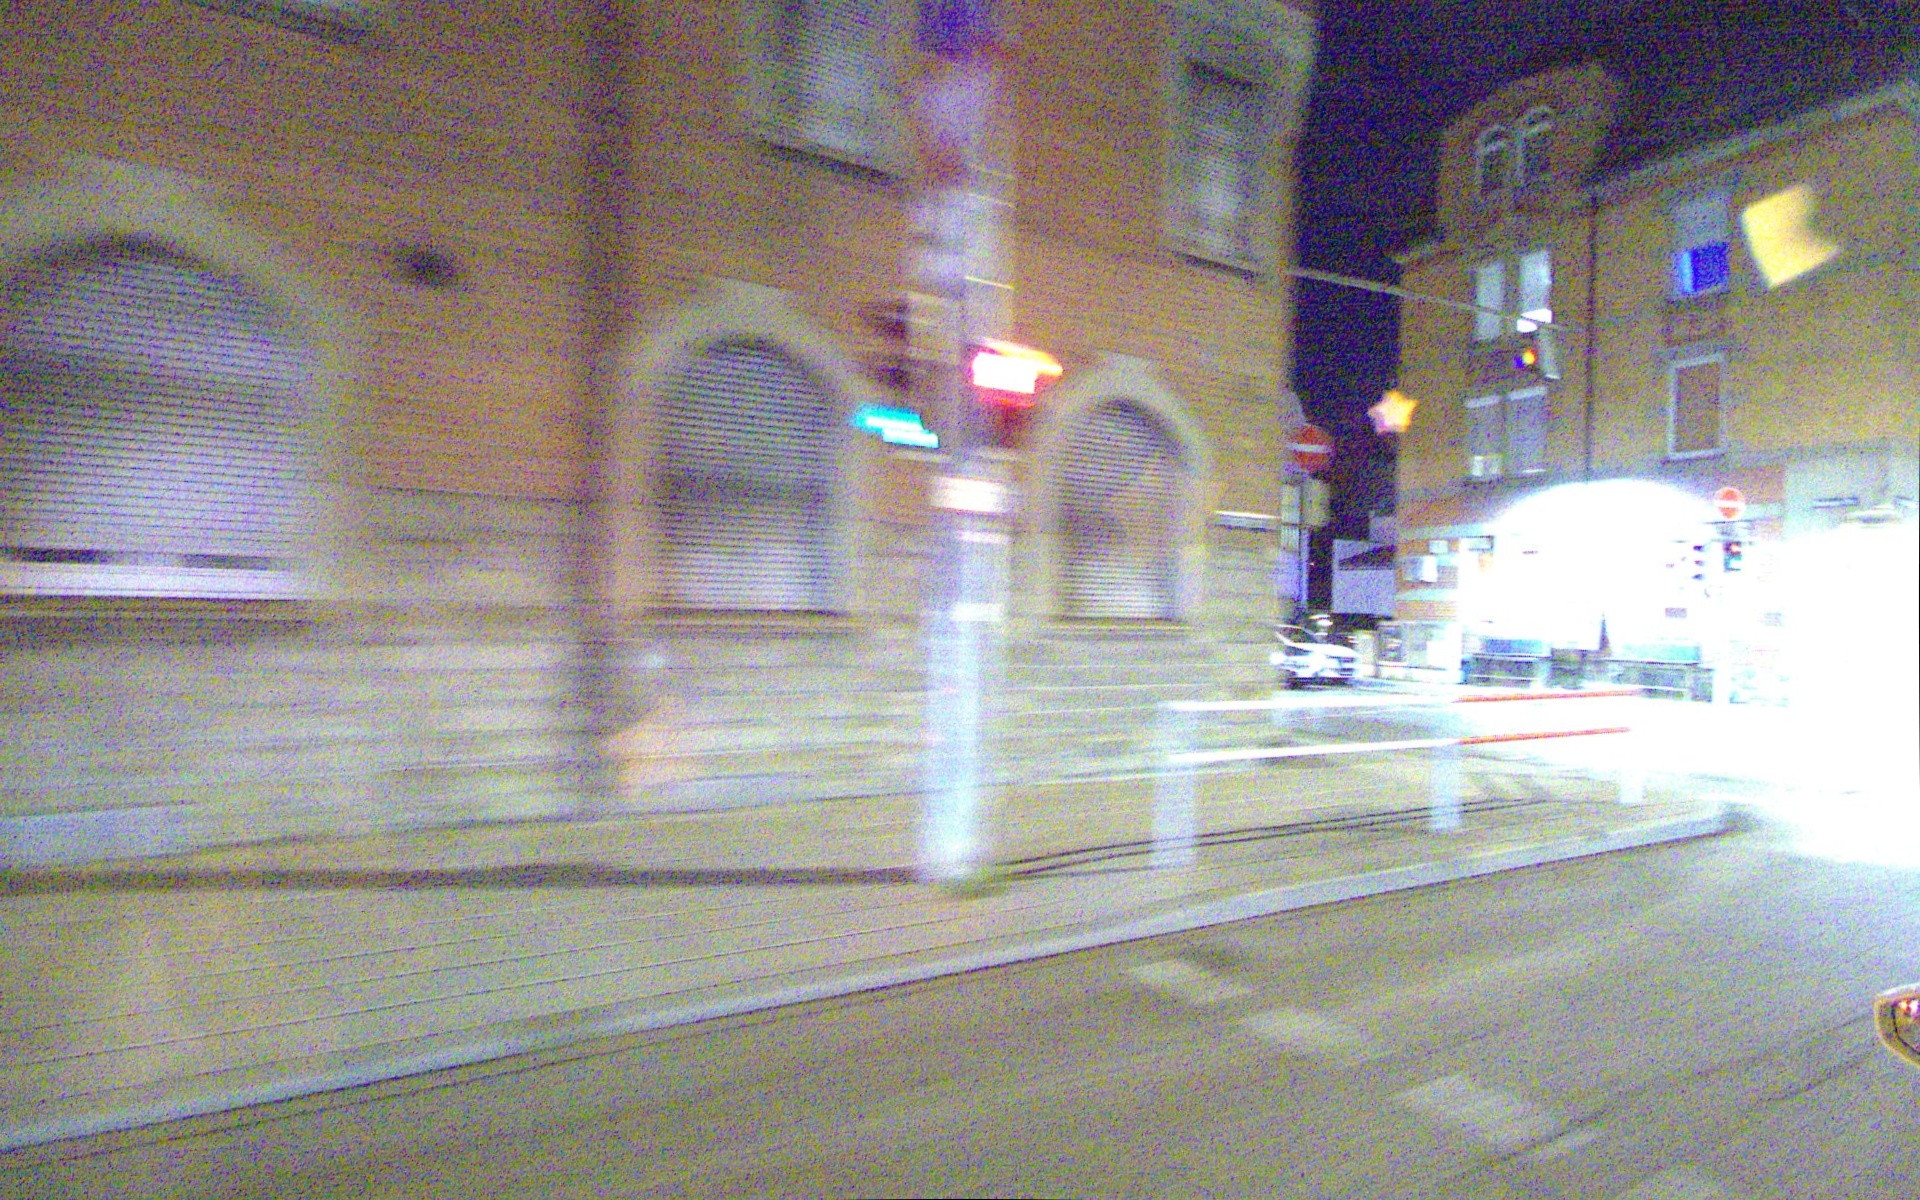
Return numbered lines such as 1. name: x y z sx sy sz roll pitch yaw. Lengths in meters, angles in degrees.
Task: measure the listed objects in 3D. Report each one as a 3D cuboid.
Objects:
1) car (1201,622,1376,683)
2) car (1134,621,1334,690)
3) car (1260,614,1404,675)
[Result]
1. car: 8.402 1.299 26.056 1.780 1.421 4.256 1 -1 -30
2. car: 6.339 1.236 23.813 1.894 1.436 4.604 1 -1 -30
3. car: 10.728 1.257 29.170 1.686 1.615 3.581 3 -2 -35
